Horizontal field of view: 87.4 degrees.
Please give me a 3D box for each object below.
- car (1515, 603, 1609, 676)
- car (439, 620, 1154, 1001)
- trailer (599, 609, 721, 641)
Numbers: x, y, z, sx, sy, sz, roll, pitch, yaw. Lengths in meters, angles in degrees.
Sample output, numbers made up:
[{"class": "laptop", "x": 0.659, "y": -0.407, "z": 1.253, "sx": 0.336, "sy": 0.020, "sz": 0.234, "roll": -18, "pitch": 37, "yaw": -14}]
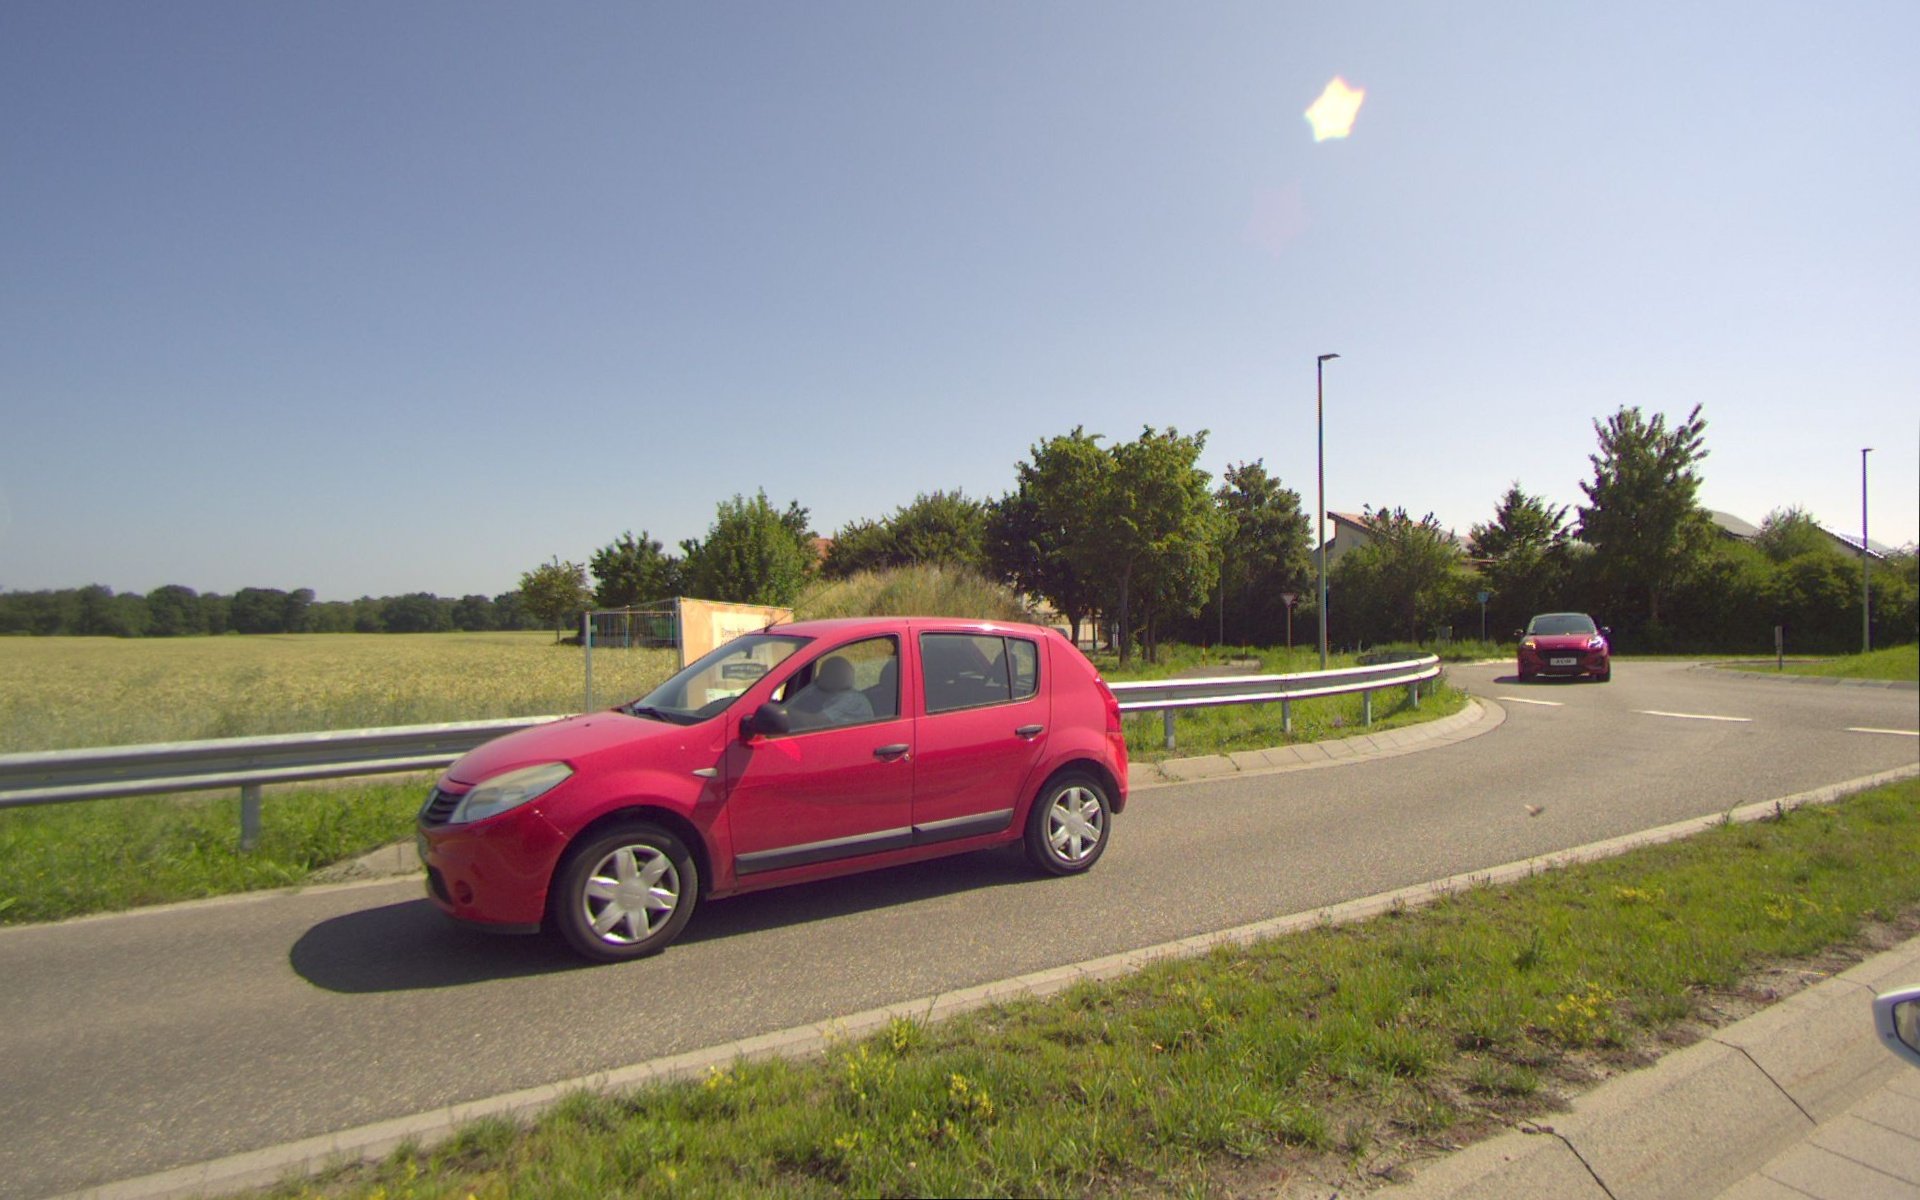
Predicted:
[{"class": "car", "x": 14.143, "y": 0.888, "z": 23.643, "sx": 1.719, "sy": 1.543, "sz": 3.822, "roll": -3, "pitch": -1, "yaw": 31}, {"class": "car", "x": -0.821, "y": 0.899, "z": 5.809, "sx": 3.762, "sy": 1.510, "sz": 1.618, "roll": 0, "pitch": -2, "yaw": -34}, {"class": "trailer", "x": -23.292, "y": 1.902, "z": 77.678, "sx": 10.293, "sy": 2.308, "sz": 1.998, "roll": 0, "pitch": 0, "yaw": 25}]
